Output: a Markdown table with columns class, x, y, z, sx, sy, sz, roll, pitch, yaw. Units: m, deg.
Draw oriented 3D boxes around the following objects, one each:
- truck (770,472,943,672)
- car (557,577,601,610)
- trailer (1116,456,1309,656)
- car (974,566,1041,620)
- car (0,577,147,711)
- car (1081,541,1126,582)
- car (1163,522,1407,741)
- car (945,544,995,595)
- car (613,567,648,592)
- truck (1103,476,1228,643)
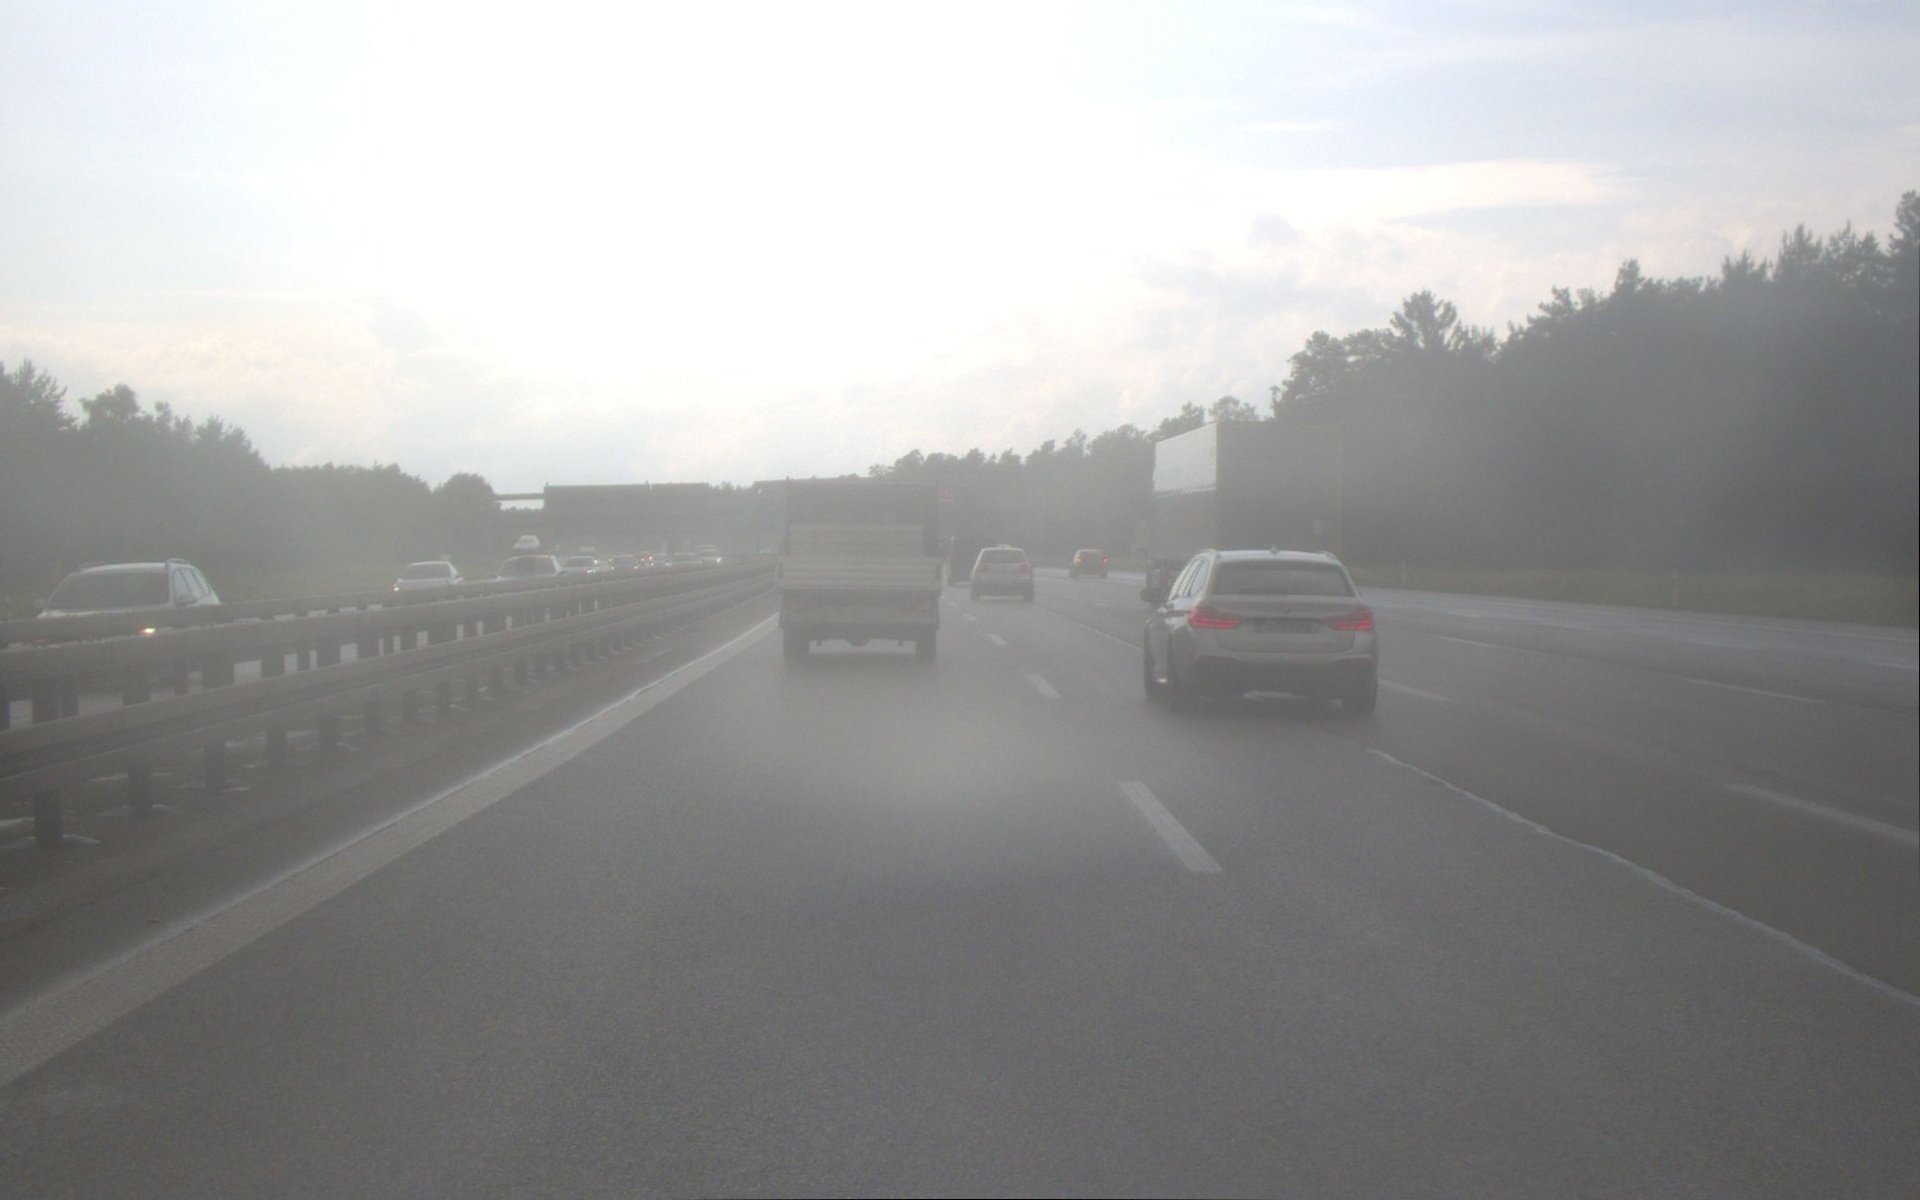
| class | x | y | z | sx | sy | sz | roll | pitch | yaw |
| --- | --- | --- | --- | --- | --- | --- | --- | --- | --- |
| truck | -1.350 | -0.384 | 45.507 | 2.137 | 2.480 | 5.313 | 0 | 1 | -1 |
| car | -17.535 | -0.312 | 158.305 | 1.728 | 1.476 | 4.000 | -1 | 1 | -3 |
| trailer | 5.351 | -0.949 | 75.369 | 2.323 | 3.988 | 13.414 | 0 | 1 | -4 |
| car | 1.332 | -0.223 | 96.874 | 1.831 | 1.461 | 4.000 | 1 | 1 | 0 |
| car | -10.276 | 0.450 | 38.005 | 1.693 | 1.371 | 4.000 | 0 | 1 | -1 |
| car | 7.304 | -1.963 | 175.275 | 1.993 | 2.007 | 4.000 | 2 | 1 | -1 |
| car | 2.969 | 0.253 | 32.357 | 2.078 | 1.878 | 5.011 | 1 | 0 | 3 |
| car | 0.392 | -1.238 | 137.474 | 1.908 | 2.007 | 4.000 | 1 | 1 | -1 |
| car | -20.058 | -1.236 | 209.381 | 1.811 | 1.417 | 4.237 | -3 | 1 | -2 |
| truck | 4.880 | -0.966 | 82.416 | 2.293 | 3.855 | 5.393 | 0 | 0 | -4 |
